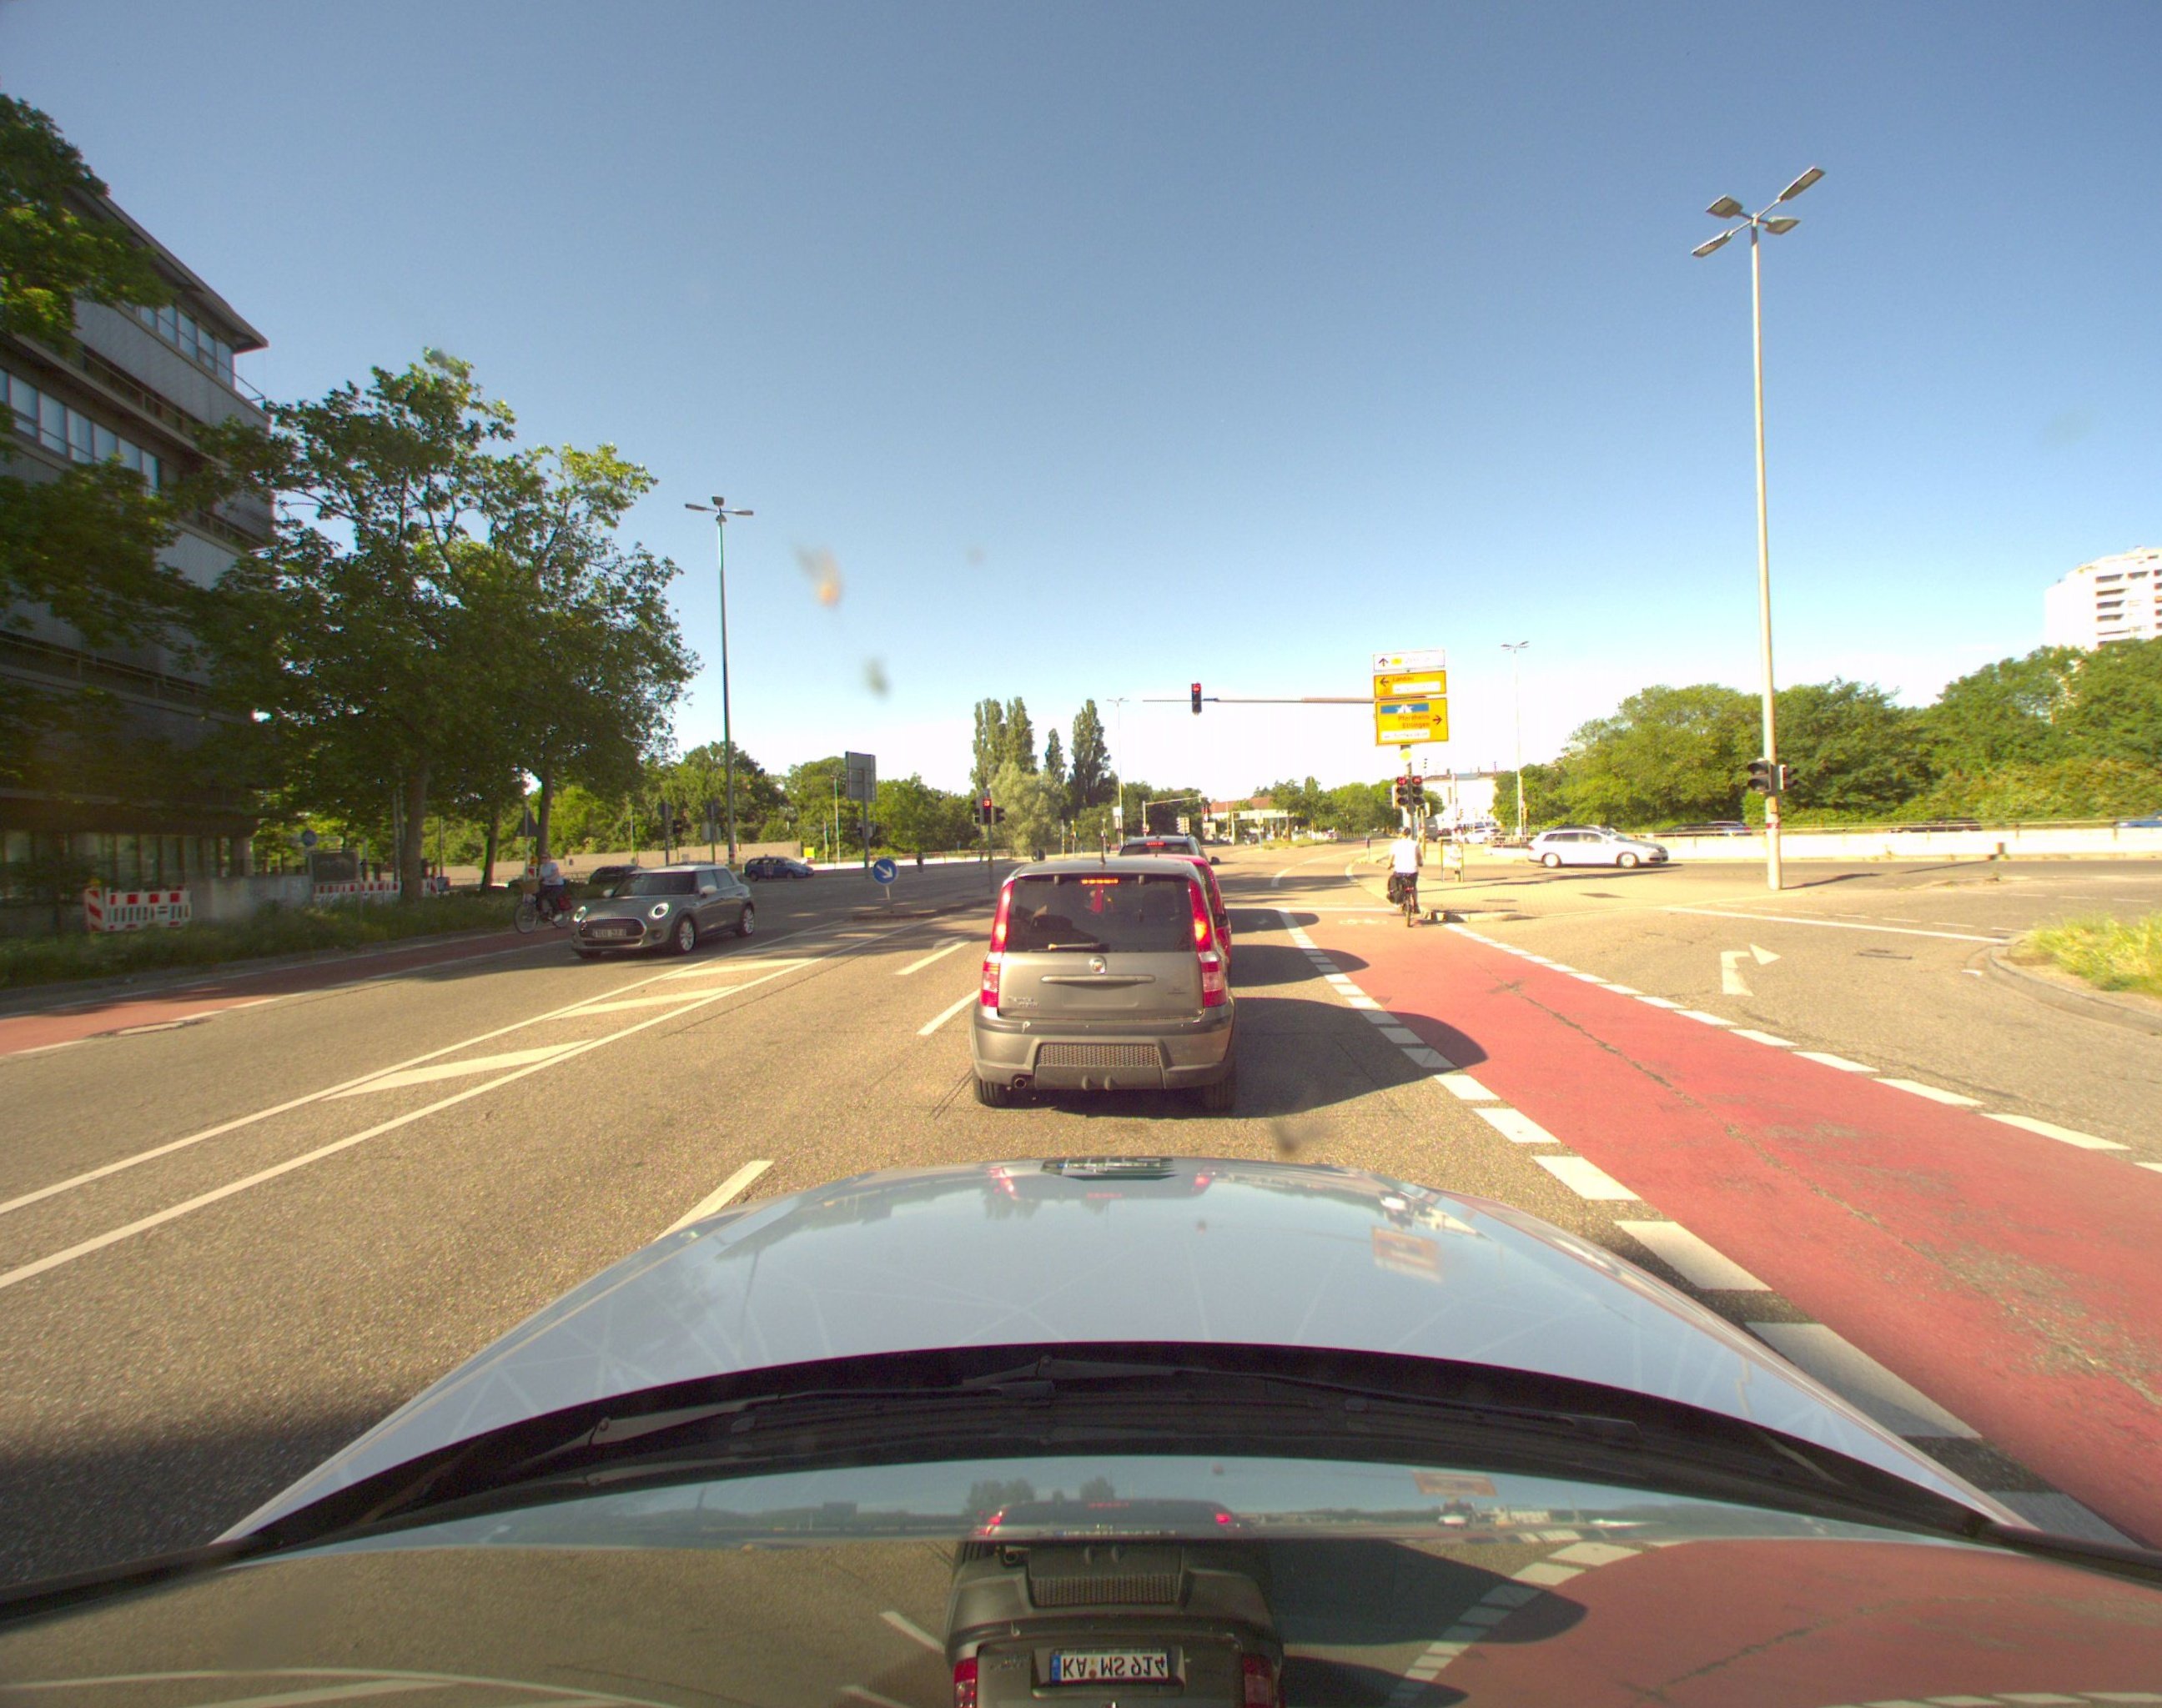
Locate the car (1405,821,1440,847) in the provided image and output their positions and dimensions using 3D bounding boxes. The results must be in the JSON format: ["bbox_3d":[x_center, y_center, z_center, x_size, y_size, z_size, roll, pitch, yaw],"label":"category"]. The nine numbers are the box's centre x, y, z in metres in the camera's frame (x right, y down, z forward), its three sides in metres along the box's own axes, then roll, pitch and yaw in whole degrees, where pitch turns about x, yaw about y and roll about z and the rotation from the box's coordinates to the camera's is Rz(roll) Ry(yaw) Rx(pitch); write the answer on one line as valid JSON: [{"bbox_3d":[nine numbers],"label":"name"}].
[{"bbox_3d":[37.105,-2.142,88.494,2.241,2.607,4.896,-1,-2,8],"label":"car"}]

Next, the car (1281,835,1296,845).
[{"bbox_3d":[41.090,-2.792,161.251,1.995,1.855,4.912,-2,-2,22],"label":"car"}]

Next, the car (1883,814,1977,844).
[{"bbox_3d":[55.190,-1.595,53.050,3.948,1.662,2.013,-2,-2,38],"label":"car"}]

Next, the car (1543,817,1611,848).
[{"bbox_3d":[36.393,-1.550,59.743,3.948,2.014,2.012,-3,-2,40],"label":"car"}]

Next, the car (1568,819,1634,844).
[{"bbox_3d":[42.032,-1.767,65.868,2.008,1.750,3.957,0,-2,-34],"label":"car"}]

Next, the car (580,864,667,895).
[{"bbox_3d":[-24.957,1.393,44.424,4.396,1.438,1.836,-2,0,24],"label":"car"}]

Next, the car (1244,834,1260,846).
[{"bbox_3d":[30.694,-2.534,146.113,1.995,1.855,4.454,-2,-2,22],"label":"car"}]

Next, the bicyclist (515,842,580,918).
[{"bbox_3d":[-12.463,0.584,19.048,0.685,1.701,1.197,-2,0,-2],"label":"bicyclist"}]

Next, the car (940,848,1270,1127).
[{"bbox_3d":[0.314,0.707,6.478,1.811,1.489,4.006,0,1,5],"label":"car"}]

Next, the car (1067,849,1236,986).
[{"bbox_3d":[0.928,0.683,10.824,1.811,1.479,4.005,0,0,5],"label":"car"}]

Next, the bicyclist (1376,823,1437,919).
[{"bbox_3d":[6.107,0.288,15.267,0.791,1.704,1.092,0,2,37],"label":"bicyclist"}]

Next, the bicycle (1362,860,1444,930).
[{"bbox_3d":[6.046,0.713,15.187,0.791,1.110,2.417,0,2,37],"label":"bicycle"}]

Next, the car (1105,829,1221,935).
[{"bbox_3d":[1.774,0.445,16.187,1.857,1.790,4.428,0,1,11],"label":"car"}]

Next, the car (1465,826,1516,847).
[{"bbox_3d":[37.906,-1.615,75.528,1.999,1.750,3.974,0,-2,-19],"label":"car"}]

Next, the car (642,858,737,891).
[{"bbox_3d":[-19.640,1.042,40.866,4.396,1.438,1.836,-2,0,24],"label":"car"}]

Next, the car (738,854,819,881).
[{"bbox_3d":[-18.863,0.833,50.788,4.403,1.438,1.834,-2,0,15],"label":"car"}]

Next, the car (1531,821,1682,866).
[{"bbox_3d":[19.042,-0.385,29.665,1.765,1.493,4.299,-3,2,-38],"label":"car"}]

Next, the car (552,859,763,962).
[{"bbox_3d":[-7.229,0.875,14.400,1.681,1.456,3.912,-2,0,-1],"label":"car"}]

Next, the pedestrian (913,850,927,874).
[{"bbox_3d":[-10.562,0.533,53.406,0.684,1.538,1.365,-1,-4,0],"label":"pedestrian"}]

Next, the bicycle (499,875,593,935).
[{"bbox_3d":[-12.440,1.149,19.047,0.685,1.202,2.325,-2,1,-2],"label":"bicycle"}]

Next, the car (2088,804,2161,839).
[{"bbox_3d":[62.282,-1.928,47.380,4.205,1.855,2.032,-2,-2,38],"label":"car"}]

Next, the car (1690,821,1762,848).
[{"bbox_3d":[47.189,-1.389,59.604,3.949,1.684,1.868,-3,-2,42],"label":"car"}]
